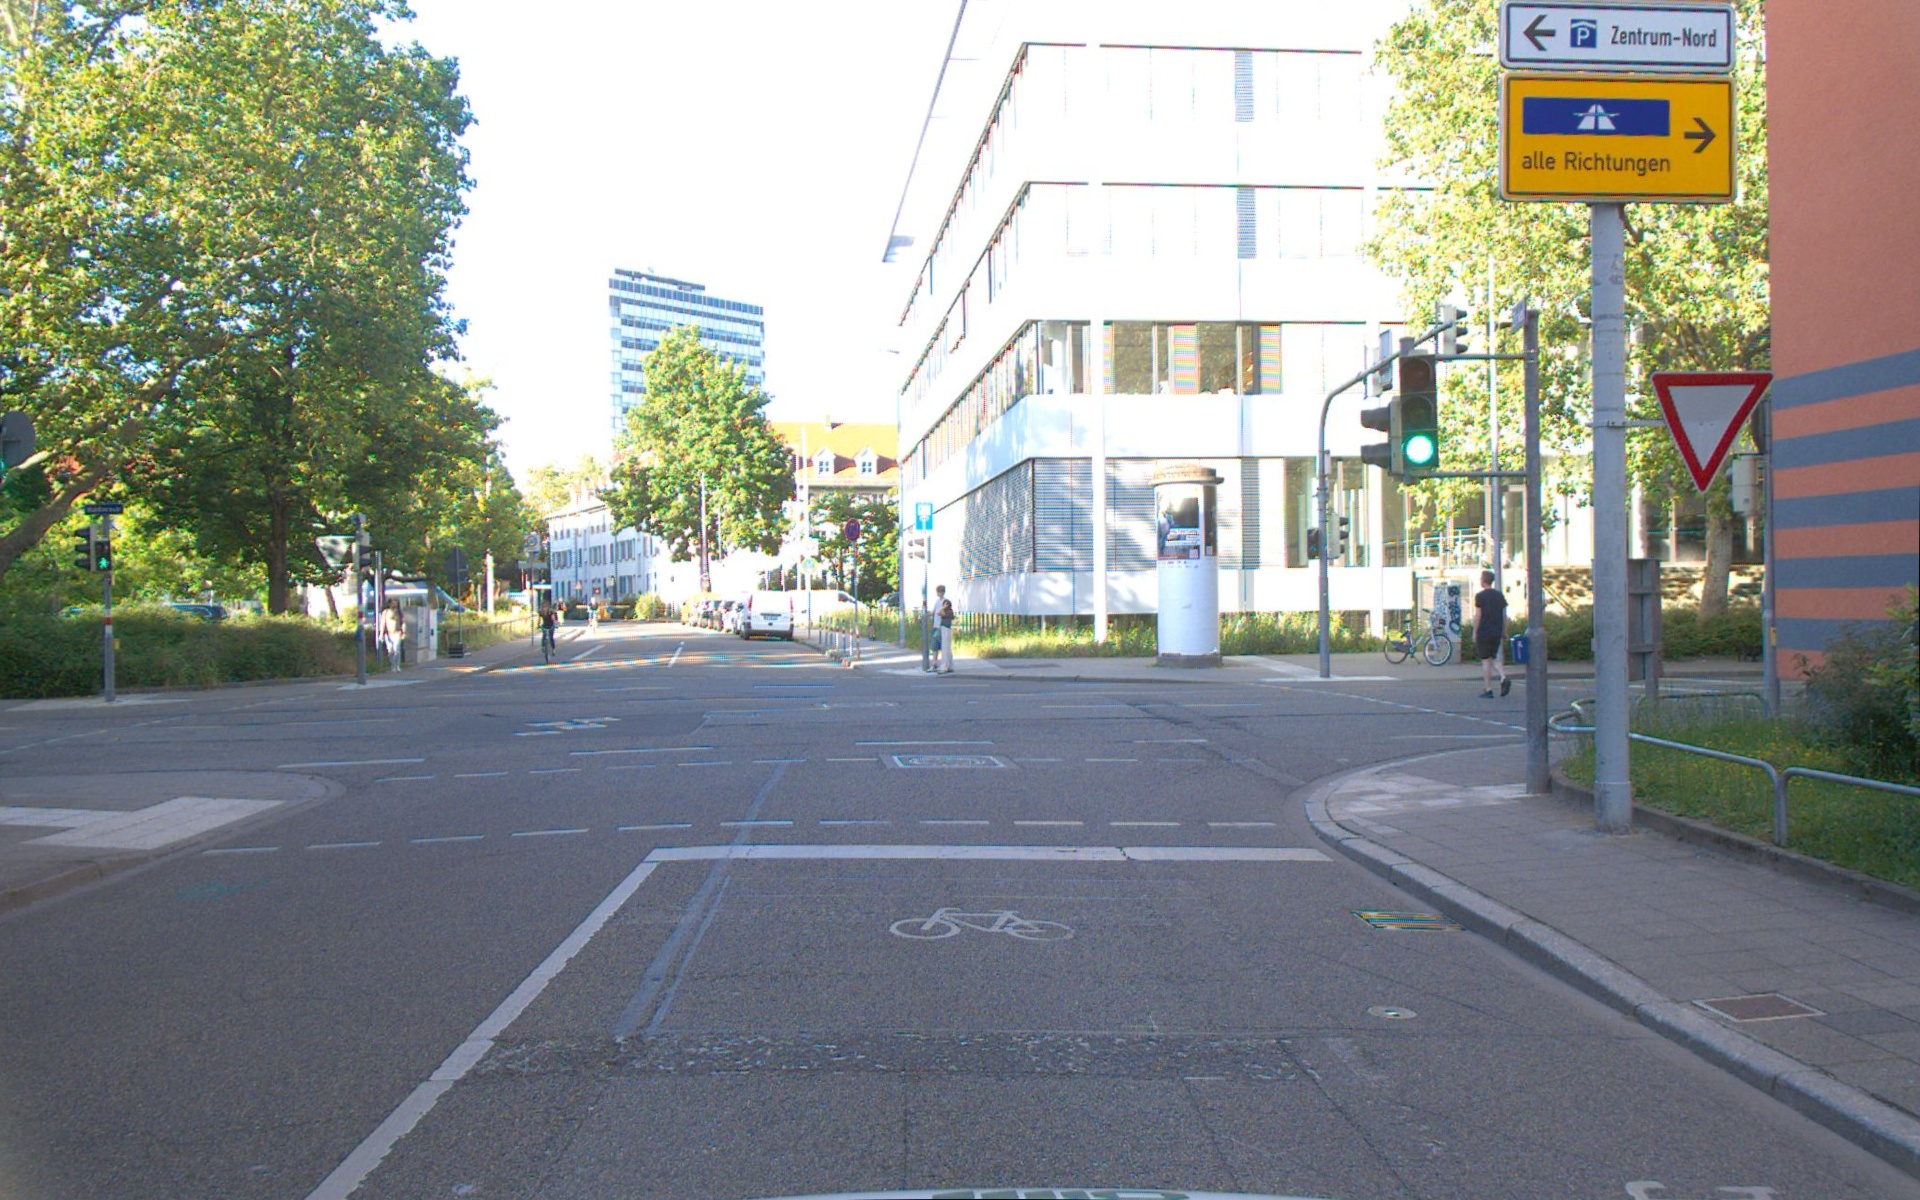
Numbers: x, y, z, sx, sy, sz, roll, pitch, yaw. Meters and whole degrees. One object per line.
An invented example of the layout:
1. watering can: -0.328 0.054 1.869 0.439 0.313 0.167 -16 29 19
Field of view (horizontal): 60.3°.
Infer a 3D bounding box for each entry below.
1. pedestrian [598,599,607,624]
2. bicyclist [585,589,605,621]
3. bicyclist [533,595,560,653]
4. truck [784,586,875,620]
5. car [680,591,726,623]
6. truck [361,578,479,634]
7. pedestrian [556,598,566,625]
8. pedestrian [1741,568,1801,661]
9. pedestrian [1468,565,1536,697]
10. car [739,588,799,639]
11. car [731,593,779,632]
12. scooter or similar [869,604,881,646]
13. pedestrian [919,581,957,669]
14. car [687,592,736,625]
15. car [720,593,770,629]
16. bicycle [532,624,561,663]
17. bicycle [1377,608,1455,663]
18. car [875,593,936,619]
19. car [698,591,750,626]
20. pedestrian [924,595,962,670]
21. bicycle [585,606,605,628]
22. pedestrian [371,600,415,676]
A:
1. pedestrian: -24.733 0.773 114.347 0.537 1.706 0.473 -1 0 -17
2. bicyclist: -18.086 0.237 81.875 0.850 1.542 1.016 -3 0 -11
3. bicyclist: -11.349 0.659 45.392 0.604 1.559 0.901 -1 0 -9
4. truck: -8.047 0.185 101.825 5.258 2.049 1.989 -1 0 -20
5. car: -14.669 0.372 94.213 1.859 1.684 4.392 0 1 -18
6. truck: -24.029 0.259 73.772 4.741 2.441 2.082 0 0 -10
7. pedestrian: -23.981 0.687 99.436 0.428 1.636 0.488 -1 0 -26
8. pedestrian: 16.421 0.290 33.489 0.819 1.872 0.707 1 0 -10
9. pedestrian: 7.852 0.434 23.996 0.692 1.872 0.837 1 0 -1
10. car: -7.361 0.469 63.446 2.047 1.827 4.405 0 1 -10
11. car: -8.920 0.513 71.701 1.854 1.583 4.405 0 1 -10
12. scooter or similar: -2.943 0.865 57.367 0.324 1.449 1.333 1 -1 -6
13. pedestrian: -0.484 0.542 36.628 0.547 1.882 0.678 -4 1 16
14. car: -13.447 0.435 89.306 1.859 1.684 4.392 0 1 -18
15. car: -10.050 0.477 77.063 1.856 1.583 4.400 0 1 -13
16. bicycle: -11.340 1.182 45.392 0.604 0.986 1.837 -1 0 -9
17. bicycle: 9.613 0.740 34.934 0.502 1.067 1.667 -3 3 -35
18. car: -3.424 0.399 103.045 3.501 1.573 1.550 -1 0 -19
19. car: -12.065 0.409 84.297 1.859 1.684 4.392 0 1 -18
20. pedestrian: -0.373 0.703 36.022 0.551 1.567 0.673 -4 1 -18
21. bicycle: -18.059 0.830 81.857 0.850 1.027 2.408 -3 0 -11
22. pedestrian: -13.321 0.885 38.891 0.689 1.753 0.954 -2 0 -4
